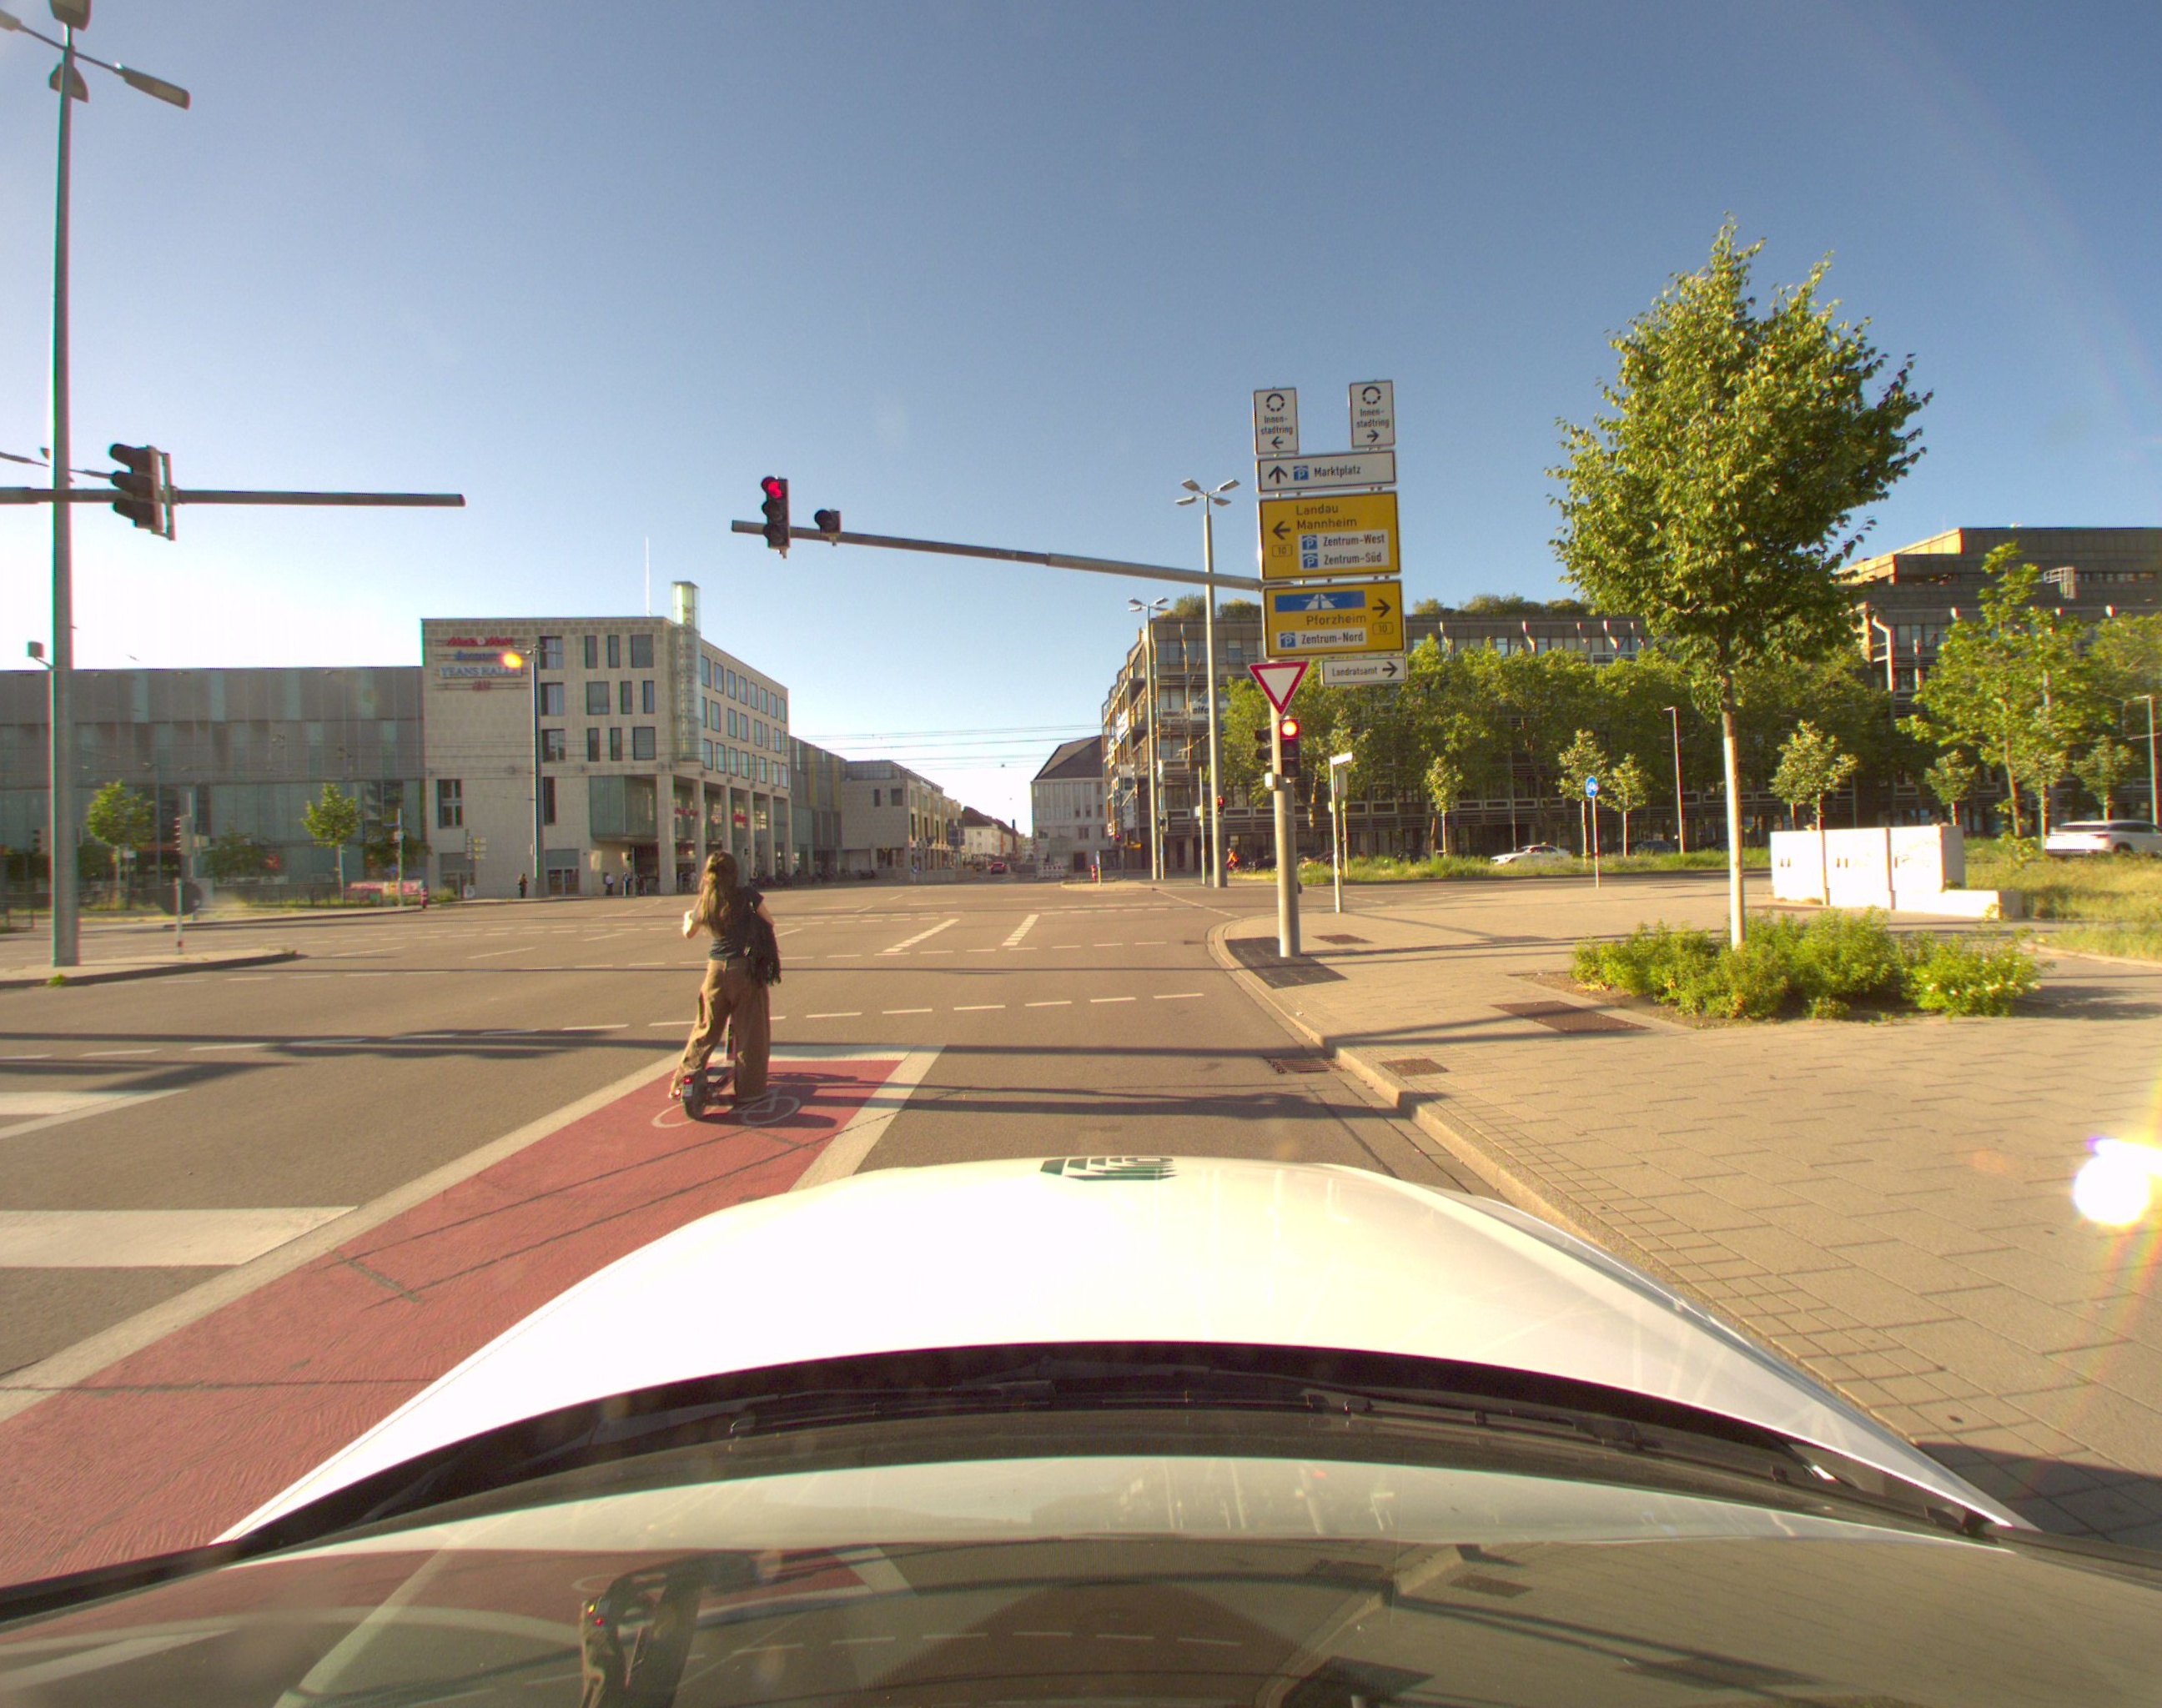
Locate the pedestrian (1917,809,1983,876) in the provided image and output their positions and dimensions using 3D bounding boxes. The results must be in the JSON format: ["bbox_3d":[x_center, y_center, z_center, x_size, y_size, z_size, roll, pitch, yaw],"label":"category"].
[{"bbox_3d":[23.123,-0.292,21.690,0.694,1.728,0.939,-2,0,-12],"label":"pedestrian"}]

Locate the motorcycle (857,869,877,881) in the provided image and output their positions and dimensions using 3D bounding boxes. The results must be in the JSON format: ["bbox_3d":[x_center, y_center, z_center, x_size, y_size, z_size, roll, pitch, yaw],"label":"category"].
[{"bbox_3d":[-25.972,2.534,98.860,2.269,1.318,0.719,-2,0,-4],"label":"motorcycle"}]

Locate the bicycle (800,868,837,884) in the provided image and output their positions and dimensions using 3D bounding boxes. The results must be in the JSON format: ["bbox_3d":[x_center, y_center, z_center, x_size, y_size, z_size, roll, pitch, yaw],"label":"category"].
[{"bbox_3d":[-27.552,2.289,85.575,3.491,1.527,0.984,-2,0,-10],"label":"bicycle"}]

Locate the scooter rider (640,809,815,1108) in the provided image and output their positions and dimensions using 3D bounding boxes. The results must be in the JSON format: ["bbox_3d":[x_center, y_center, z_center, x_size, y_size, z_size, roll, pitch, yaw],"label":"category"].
[{"bbox_3d":[-2.250,0.625,5.284,0.726,1.775,0.811,-1,0,1],"label":"scooter rider"}]

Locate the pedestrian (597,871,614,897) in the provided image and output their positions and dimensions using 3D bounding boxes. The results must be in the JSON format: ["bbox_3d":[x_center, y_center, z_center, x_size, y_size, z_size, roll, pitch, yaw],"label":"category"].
[{"bbox_3d":[-34.137,2.152,58.497,0.755,1.798,0.736,-2,0,-3],"label":"pedestrian"}]

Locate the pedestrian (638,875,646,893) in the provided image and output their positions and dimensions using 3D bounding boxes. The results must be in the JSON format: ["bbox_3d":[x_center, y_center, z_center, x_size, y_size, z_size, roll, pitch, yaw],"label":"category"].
[{"bbox_3d":[-35.097,2.381,65.148,0.386,1.426,0.500,-2,0,-13],"label":"pedestrian"}]

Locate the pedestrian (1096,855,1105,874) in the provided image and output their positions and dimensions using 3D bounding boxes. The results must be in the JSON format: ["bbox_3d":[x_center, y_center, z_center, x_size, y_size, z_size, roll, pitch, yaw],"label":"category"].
[{"bbox_3d":[1.641,0.891,69.706,0.661,1.658,0.755,-2,0,-1],"label":"pedestrian"}]

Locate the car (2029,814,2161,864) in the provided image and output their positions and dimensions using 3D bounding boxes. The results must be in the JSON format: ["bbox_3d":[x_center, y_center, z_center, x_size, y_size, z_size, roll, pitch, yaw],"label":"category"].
[{"bbox_3d":[38.034,-0.587,29.942,4.385,1.660,1.996,-2,1,-6],"label":"car"}]

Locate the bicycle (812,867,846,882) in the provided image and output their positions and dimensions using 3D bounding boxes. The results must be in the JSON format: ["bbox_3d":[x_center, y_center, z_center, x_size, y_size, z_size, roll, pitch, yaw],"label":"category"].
[{"bbox_3d":[-27.934,2.248,90.349,3.491,1.527,0.984,-2,0,-10],"label":"bicycle"}]

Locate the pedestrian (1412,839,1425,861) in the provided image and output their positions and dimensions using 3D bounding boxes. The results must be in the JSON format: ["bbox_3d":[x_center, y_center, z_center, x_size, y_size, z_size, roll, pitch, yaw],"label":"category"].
[{"bbox_3d":[26.896,-0.323,64.865,0.662,1.658,0.739,-2,0,-5],"label":"pedestrian"}]

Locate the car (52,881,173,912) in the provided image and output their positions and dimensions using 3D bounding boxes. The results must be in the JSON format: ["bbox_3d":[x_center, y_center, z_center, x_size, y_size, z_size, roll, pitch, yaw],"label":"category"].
[{"bbox_3d":[-57.580,2.508,48.504,4.460,1.607,1.996,-2,0,-6],"label":"car"}]

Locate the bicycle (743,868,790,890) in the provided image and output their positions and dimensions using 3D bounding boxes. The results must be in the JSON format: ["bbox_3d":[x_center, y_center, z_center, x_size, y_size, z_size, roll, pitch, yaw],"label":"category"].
[{"bbox_3d":[-26.735,2.095,69.287,3.488,1.696,1.114,-2,0,-7],"label":"bicycle"}]

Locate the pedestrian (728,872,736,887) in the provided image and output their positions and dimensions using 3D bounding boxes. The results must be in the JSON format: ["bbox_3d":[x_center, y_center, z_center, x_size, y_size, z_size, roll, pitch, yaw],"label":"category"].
[{"bbox_3d":[-33.606,2.476,78.464,0.640,1.435,0.472,-2,0,-21],"label":"pedestrian"}]

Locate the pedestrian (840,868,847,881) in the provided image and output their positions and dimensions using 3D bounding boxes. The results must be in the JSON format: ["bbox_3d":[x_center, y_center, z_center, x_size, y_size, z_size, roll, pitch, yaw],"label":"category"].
[{"bbox_3d":[-30.252,2.585,103.854,0.695,1.642,0.694,-2,0,-5],"label":"pedestrian"}]

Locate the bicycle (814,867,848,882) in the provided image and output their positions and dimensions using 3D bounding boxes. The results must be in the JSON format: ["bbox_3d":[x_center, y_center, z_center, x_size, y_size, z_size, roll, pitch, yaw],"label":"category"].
[{"bbox_3d":[-28.176,2.290,91.742,3.491,1.527,0.984,-2,0,-10],"label":"bicycle"}]

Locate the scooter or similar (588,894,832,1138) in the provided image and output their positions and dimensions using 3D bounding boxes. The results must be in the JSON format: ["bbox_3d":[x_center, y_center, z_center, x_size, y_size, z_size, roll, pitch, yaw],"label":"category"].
[{"bbox_3d":[-2.238,0.907,5.183,0.725,1.202,1.665,-1,0,2],"label":"scooter or similar"}]

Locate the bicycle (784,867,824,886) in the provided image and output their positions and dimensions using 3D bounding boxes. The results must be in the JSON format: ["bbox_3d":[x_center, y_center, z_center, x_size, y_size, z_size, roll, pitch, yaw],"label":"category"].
[{"bbox_3d":[-27.252,2.232,80.157,3.491,1.696,0.984,-2,0,-10],"label":"bicycle"}]

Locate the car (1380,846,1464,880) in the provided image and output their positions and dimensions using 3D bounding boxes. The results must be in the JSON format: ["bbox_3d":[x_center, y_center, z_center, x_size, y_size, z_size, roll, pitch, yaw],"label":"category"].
[{"bbox_3d":[21.402,0.561,51.239,4.435,2.014,1.998,0,-1,-4],"label":"car"}]

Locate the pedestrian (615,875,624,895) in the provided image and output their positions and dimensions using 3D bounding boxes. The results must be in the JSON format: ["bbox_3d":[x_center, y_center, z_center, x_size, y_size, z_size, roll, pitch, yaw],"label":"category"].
[{"bbox_3d":[-36.571,2.457,64.514,0.420,1.565,0.457,-2,0,2],"label":"pedestrian"}]

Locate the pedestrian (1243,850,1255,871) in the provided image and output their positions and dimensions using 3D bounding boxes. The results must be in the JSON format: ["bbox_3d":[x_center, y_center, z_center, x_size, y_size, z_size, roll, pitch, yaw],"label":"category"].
[{"bbox_3d":[13.663,0.543,66.229,0.728,1.658,0.649,-2,0,-5],"label":"pedestrian"}]

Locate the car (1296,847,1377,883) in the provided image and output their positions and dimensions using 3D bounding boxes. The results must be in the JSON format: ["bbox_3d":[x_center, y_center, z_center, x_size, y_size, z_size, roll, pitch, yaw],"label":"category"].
[{"bbox_3d":[14.449,0.618,46.201,3.975,2.014,1.999,0,-1,-1],"label":"car"}]

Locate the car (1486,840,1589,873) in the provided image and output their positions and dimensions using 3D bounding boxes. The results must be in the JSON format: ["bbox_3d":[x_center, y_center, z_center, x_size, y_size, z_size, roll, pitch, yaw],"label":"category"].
[{"bbox_3d":[28.890,0.144,51.646,5.424,2.014,2.097,0,-1,-1],"label":"car"}]

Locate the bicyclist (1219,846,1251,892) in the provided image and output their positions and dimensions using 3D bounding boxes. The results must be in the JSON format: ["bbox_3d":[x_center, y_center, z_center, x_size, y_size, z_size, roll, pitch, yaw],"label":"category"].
[{"bbox_3d":[8.882,0.854,47.064,1.566,2.580,0.929,-2,0,-7],"label":"bicyclist"}]

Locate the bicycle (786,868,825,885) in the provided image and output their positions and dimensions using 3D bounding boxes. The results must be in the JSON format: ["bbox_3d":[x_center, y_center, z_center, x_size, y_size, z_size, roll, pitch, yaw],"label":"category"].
[{"bbox_3d":[-27.413,2.225,81.154,3.491,1.527,0.984,-2,0,-10],"label":"bicycle"}]

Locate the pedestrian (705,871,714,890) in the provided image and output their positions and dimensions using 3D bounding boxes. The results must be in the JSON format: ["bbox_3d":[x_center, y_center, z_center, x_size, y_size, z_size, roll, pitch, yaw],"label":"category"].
[{"bbox_3d":[-32.313,2.317,70.879,0.480,1.585,0.513,-2,0,-3],"label":"pedestrian"}]

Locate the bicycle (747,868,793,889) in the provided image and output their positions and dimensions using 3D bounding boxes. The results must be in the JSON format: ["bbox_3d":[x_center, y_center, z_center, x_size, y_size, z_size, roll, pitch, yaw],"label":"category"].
[{"bbox_3d":[-26.913,2.102,70.480,3.488,1.696,1.114,-2,0,-7],"label":"bicycle"}]

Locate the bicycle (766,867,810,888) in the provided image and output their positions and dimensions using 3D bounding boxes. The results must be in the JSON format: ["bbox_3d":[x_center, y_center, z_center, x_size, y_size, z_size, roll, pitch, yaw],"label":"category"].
[{"bbox_3d":[-26.324,2.114,73.169,3.488,1.696,1.114,-2,0,-7],"label":"bicycle"}]

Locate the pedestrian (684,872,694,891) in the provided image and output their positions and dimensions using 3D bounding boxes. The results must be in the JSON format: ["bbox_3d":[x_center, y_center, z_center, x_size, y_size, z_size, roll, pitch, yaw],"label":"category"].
[{"bbox_3d":[-33.243,2.346,69.079,0.480,1.585,0.598,-2,0,-3],"label":"pedestrian"}]

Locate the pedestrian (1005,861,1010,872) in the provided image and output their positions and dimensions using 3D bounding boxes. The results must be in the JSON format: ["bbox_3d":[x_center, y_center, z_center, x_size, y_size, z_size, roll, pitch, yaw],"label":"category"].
[{"bbox_3d":[-9.758,1.695,108.695,0.608,1.411,0.569,-2,0,-5],"label":"pedestrian"}]

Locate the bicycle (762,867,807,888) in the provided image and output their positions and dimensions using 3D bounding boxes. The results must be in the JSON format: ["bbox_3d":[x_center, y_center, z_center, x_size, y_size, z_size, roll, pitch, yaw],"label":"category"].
[{"bbox_3d":[-26.147,2.068,71.948,3.488,1.696,1.114,-2,0,-7],"label":"bicycle"}]

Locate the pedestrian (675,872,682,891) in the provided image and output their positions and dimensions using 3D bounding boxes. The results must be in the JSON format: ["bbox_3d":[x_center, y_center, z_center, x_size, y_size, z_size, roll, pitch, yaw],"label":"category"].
[{"bbox_3d":[-34.257,2.327,69.273,0.385,1.585,0.367,-2,0,-3],"label":"pedestrian"}]

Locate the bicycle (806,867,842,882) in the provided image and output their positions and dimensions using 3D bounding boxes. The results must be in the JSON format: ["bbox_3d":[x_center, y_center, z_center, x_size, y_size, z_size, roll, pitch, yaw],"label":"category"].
[{"bbox_3d":[-27.926,2.210,88.572,3.491,1.527,0.984,-2,0,-10],"label":"bicycle"}]

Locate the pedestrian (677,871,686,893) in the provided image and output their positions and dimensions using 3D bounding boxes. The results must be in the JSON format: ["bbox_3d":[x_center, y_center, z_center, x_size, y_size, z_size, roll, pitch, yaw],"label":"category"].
[{"bbox_3d":[-30.416,2.149,61.979,0.542,1.642,0.546,-2,0,-22],"label":"pedestrian"}]

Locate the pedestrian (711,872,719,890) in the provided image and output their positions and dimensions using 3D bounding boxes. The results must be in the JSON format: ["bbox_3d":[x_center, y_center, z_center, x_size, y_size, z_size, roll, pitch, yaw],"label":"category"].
[{"bbox_3d":[-32.227,2.384,71.661,0.480,1.510,0.513,-2,0,-3],"label":"pedestrian"}]

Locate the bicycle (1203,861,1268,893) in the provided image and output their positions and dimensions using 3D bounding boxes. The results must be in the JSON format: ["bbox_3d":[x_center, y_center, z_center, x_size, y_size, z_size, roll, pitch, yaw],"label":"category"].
[{"bbox_3d":[8.923,1.315,47.060,3.488,1.659,0.929,-2,0,-7],"label":"bicycle"}]

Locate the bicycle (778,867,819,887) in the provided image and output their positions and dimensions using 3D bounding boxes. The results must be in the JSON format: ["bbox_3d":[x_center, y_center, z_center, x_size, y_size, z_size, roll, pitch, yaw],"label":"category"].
[{"bbox_3d":[-27.048,2.209,78.060,3.491,1.696,0.984,-2,0,-10],"label":"bicycle"}]

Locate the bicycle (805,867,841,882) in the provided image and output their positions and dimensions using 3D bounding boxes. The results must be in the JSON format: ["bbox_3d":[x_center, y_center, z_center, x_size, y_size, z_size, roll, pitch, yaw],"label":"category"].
[{"bbox_3d":[-27.657,2.210,87.443,3.491,1.527,0.984,-2,0,-10],"label":"bicycle"}]

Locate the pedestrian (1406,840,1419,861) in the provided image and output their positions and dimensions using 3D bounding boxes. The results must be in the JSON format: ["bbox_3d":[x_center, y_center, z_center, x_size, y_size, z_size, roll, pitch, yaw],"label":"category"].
[{"bbox_3d":[26.764,-0.315,65.709,0.662,1.658,0.739,-2,0,-5],"label":"pedestrian"}]

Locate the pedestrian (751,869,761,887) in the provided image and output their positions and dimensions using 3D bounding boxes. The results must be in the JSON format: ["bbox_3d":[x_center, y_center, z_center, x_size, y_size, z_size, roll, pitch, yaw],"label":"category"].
[{"bbox_3d":[-30.099,2.184,75.463,0.788,1.642,0.689,-2,0,-27],"label":"pedestrian"}]

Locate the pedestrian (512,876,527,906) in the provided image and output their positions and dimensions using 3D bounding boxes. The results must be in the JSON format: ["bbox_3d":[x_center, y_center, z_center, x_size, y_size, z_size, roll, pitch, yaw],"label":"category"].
[{"bbox_3d":[-32.605,2.147,47.289,0.525,1.694,0.546,-2,0,-8],"label":"pedestrian"}]

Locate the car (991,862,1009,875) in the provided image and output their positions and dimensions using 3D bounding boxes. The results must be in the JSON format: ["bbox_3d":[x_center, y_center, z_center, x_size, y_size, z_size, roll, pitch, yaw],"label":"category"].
[{"bbox_3d":[-10.794,1.882,108.855,2.195,1.607,4.320,-2,0,-4],"label":"car"}]

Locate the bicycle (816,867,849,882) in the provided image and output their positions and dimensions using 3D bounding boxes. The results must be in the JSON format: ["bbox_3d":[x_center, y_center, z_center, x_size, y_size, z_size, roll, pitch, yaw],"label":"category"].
[{"bbox_3d":[-28.293,2.327,92.773,3.491,1.527,0.984,-2,0,-10],"label":"bicycle"}]

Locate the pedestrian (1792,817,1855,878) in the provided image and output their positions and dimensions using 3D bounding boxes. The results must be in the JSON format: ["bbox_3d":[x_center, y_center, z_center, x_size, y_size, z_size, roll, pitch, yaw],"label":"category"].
[{"bbox_3d":[20.269,-0.173,22.258,0.801,1.630,0.939,-2,0,-12],"label":"pedestrian"}]

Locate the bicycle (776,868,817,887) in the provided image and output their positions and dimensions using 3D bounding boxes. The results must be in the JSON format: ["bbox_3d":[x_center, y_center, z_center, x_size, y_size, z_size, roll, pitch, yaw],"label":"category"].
[{"bbox_3d":[-26.860,2.197,76.852,3.491,1.696,0.984,-2,0,-10],"label":"bicycle"}]

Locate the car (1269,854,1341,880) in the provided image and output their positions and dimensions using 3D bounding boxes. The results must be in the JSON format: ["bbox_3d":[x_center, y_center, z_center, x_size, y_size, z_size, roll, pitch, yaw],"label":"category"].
[{"bbox_3d":[13.848,0.782,50.468,3.976,1.508,1.867,-1,0,-2],"label":"car"}]

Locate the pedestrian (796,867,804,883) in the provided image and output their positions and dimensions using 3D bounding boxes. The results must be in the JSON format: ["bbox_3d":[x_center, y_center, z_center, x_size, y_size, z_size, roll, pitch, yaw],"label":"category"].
[{"bbox_3d":[-30.027,2.247,87.002,0.652,1.642,0.693,-2,0,-7],"label":"pedestrian"}]

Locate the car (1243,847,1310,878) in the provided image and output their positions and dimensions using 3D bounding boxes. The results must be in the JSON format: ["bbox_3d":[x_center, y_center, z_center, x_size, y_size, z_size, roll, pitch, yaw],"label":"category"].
[{"bbox_3d":[12.836,0.560,53.616,3.975,2.014,1.999,0,-1,-1],"label":"car"}]

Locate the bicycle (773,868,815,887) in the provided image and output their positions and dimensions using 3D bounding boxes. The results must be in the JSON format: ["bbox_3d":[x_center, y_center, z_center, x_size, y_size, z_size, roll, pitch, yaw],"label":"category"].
[{"bbox_3d":[-26.684,2.179,75.755,3.491,1.696,0.984,-2,0,-10],"label":"bicycle"}]
